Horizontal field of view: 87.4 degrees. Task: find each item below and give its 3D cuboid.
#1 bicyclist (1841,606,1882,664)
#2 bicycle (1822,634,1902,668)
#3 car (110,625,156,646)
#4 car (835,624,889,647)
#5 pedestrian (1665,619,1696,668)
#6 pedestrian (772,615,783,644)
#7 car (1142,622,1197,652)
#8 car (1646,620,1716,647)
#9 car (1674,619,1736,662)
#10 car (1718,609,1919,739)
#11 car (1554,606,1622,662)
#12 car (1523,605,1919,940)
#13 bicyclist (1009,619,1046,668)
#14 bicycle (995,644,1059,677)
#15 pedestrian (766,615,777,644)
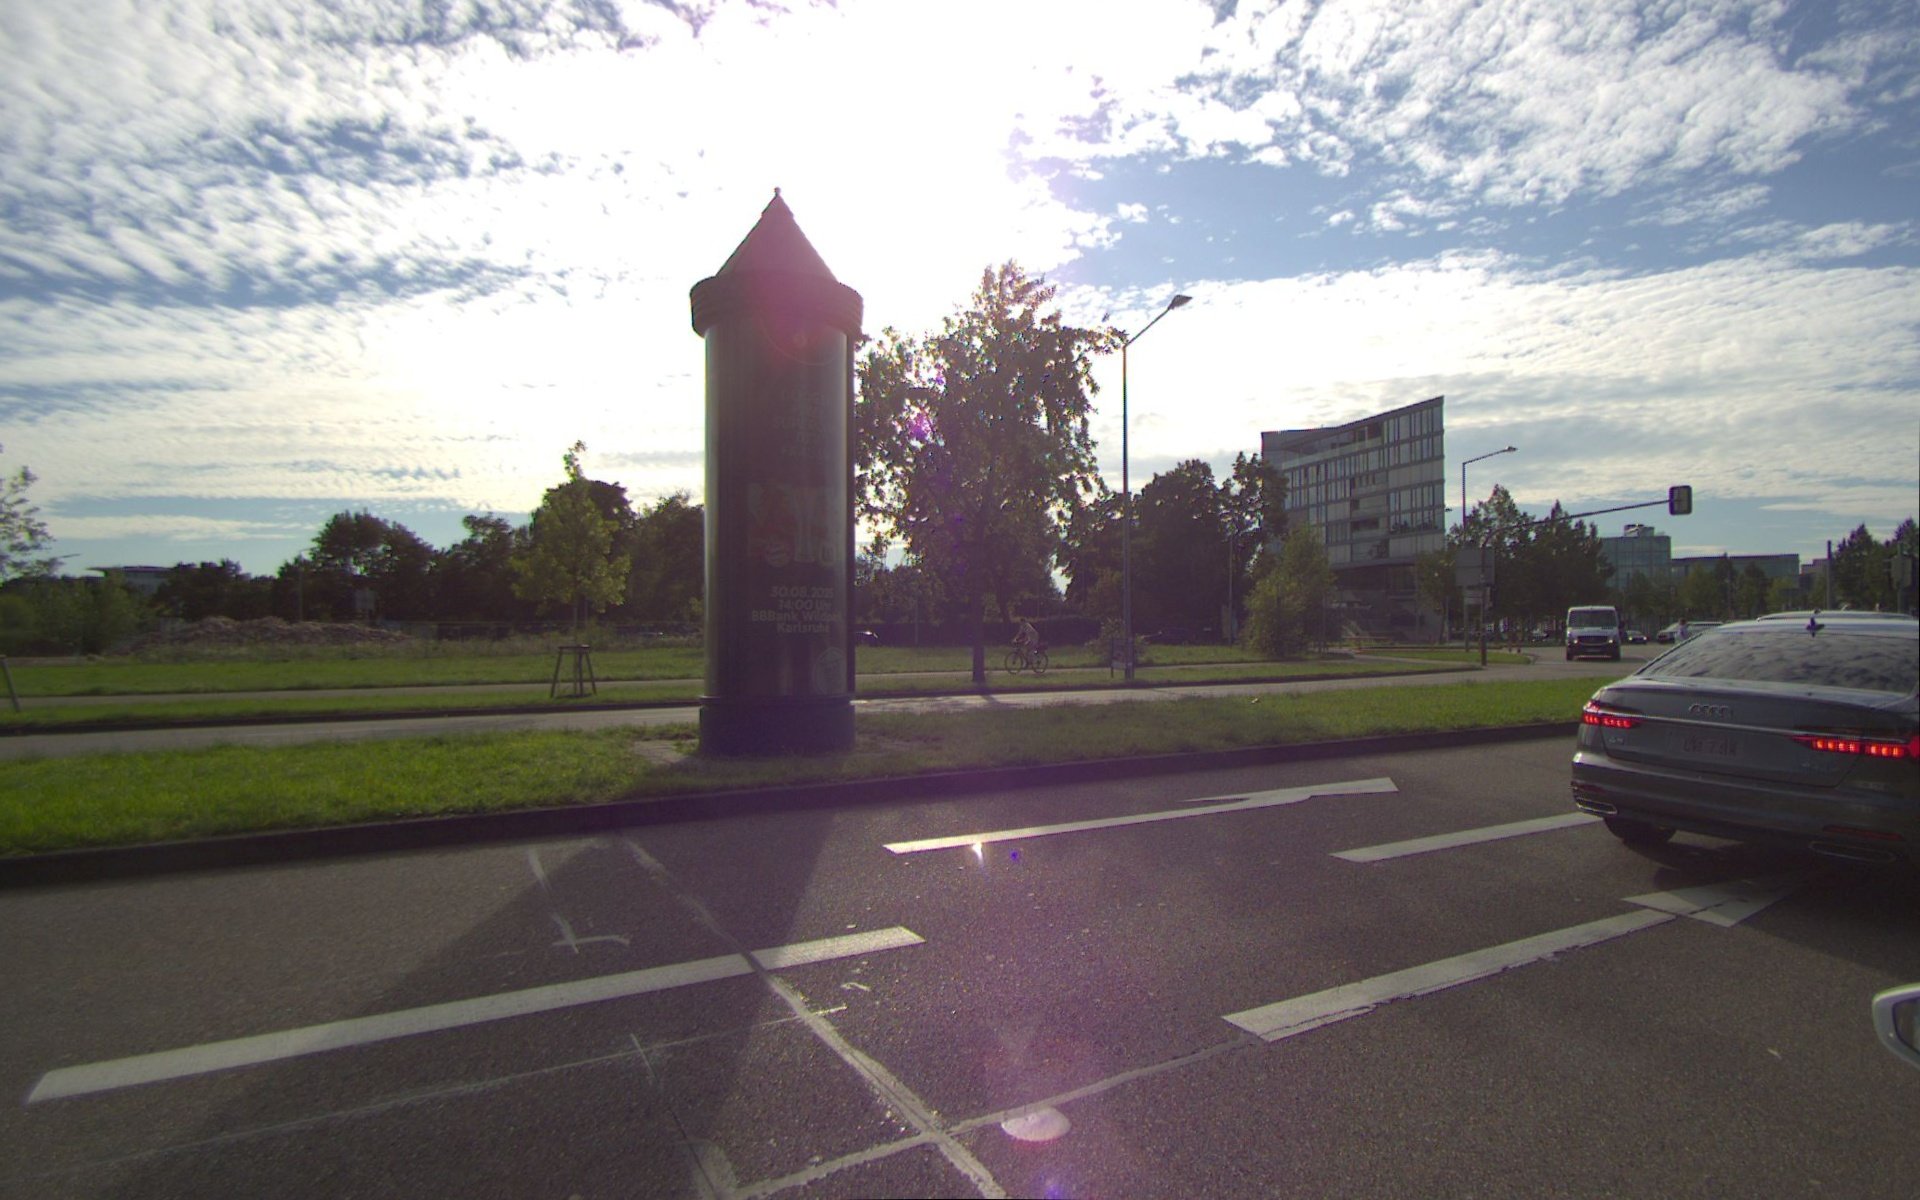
[{"bbox_3d":[26.712,1.027,29.762,0.544,1.690,0.783,1,-2,-34],"label":"bicyclist"},{"bbox_3d":[26.699,1.490,29.765,0.638,0.980,1.664,1,-2,-34],"label":"bicycle"},{"bbox_3d":[-83.941,3.604,101.962,3.922,2.040,2.000,-1,-2,21],"label":"car"},{"bbox_3d":[-7.833,2.877,80.477,3.919,1.750,1.850,-2,-3,14],"label":"car"},{"bbox_3d":[23.623,1.421,32.951,0.609,1.589,0.651,1,-2,-34],"label":"pedestrian"},{"bbox_3d":[-12.745,2.076,70.143,0.723,2.040,0.739,0,-1,-6],"label":"pedestrian"},{"bbox_3d":[15.718,2.763,75.387,3.919,2.040,2.001,2,0,13],"label":"car"},{"bbox_3d":[55.536,2.574,77.410,4.154,2.040,1.827,1,-2,-3],"label":"car"},{"bbox_3d":[29.566,1.621,39.824,1.685,1.594,3.981,-3,-4,40],"label":"car"},{"bbox_3d":[12.465,0.929,13.935,3.971,1.579,1.721,1,0,-30],"label":"car"},{"bbox_3d":[27.639,1.515,44.119,1.968,2.264,5.903,-3,-3,36],"label":"car"},{"bbox_3d":[5.857,0.824,6.465,4.559,1.502,1.881,1,-1,-31],"label":"car"},{"bbox_3d":[2.170,1.382,32.353,0.978,1.546,0.702,1,-2,-30],"label":"bicyclist"},{"bbox_3d":[2.154,1.927,32.325,1.889,0.994,0.890,1,-2,-31],"label":"bicycle"},{"bbox_3d":[-12.979,2.042,69.320,0.675,2.040,0.641,0,-1,-5],"label":"pedestrian"}]
